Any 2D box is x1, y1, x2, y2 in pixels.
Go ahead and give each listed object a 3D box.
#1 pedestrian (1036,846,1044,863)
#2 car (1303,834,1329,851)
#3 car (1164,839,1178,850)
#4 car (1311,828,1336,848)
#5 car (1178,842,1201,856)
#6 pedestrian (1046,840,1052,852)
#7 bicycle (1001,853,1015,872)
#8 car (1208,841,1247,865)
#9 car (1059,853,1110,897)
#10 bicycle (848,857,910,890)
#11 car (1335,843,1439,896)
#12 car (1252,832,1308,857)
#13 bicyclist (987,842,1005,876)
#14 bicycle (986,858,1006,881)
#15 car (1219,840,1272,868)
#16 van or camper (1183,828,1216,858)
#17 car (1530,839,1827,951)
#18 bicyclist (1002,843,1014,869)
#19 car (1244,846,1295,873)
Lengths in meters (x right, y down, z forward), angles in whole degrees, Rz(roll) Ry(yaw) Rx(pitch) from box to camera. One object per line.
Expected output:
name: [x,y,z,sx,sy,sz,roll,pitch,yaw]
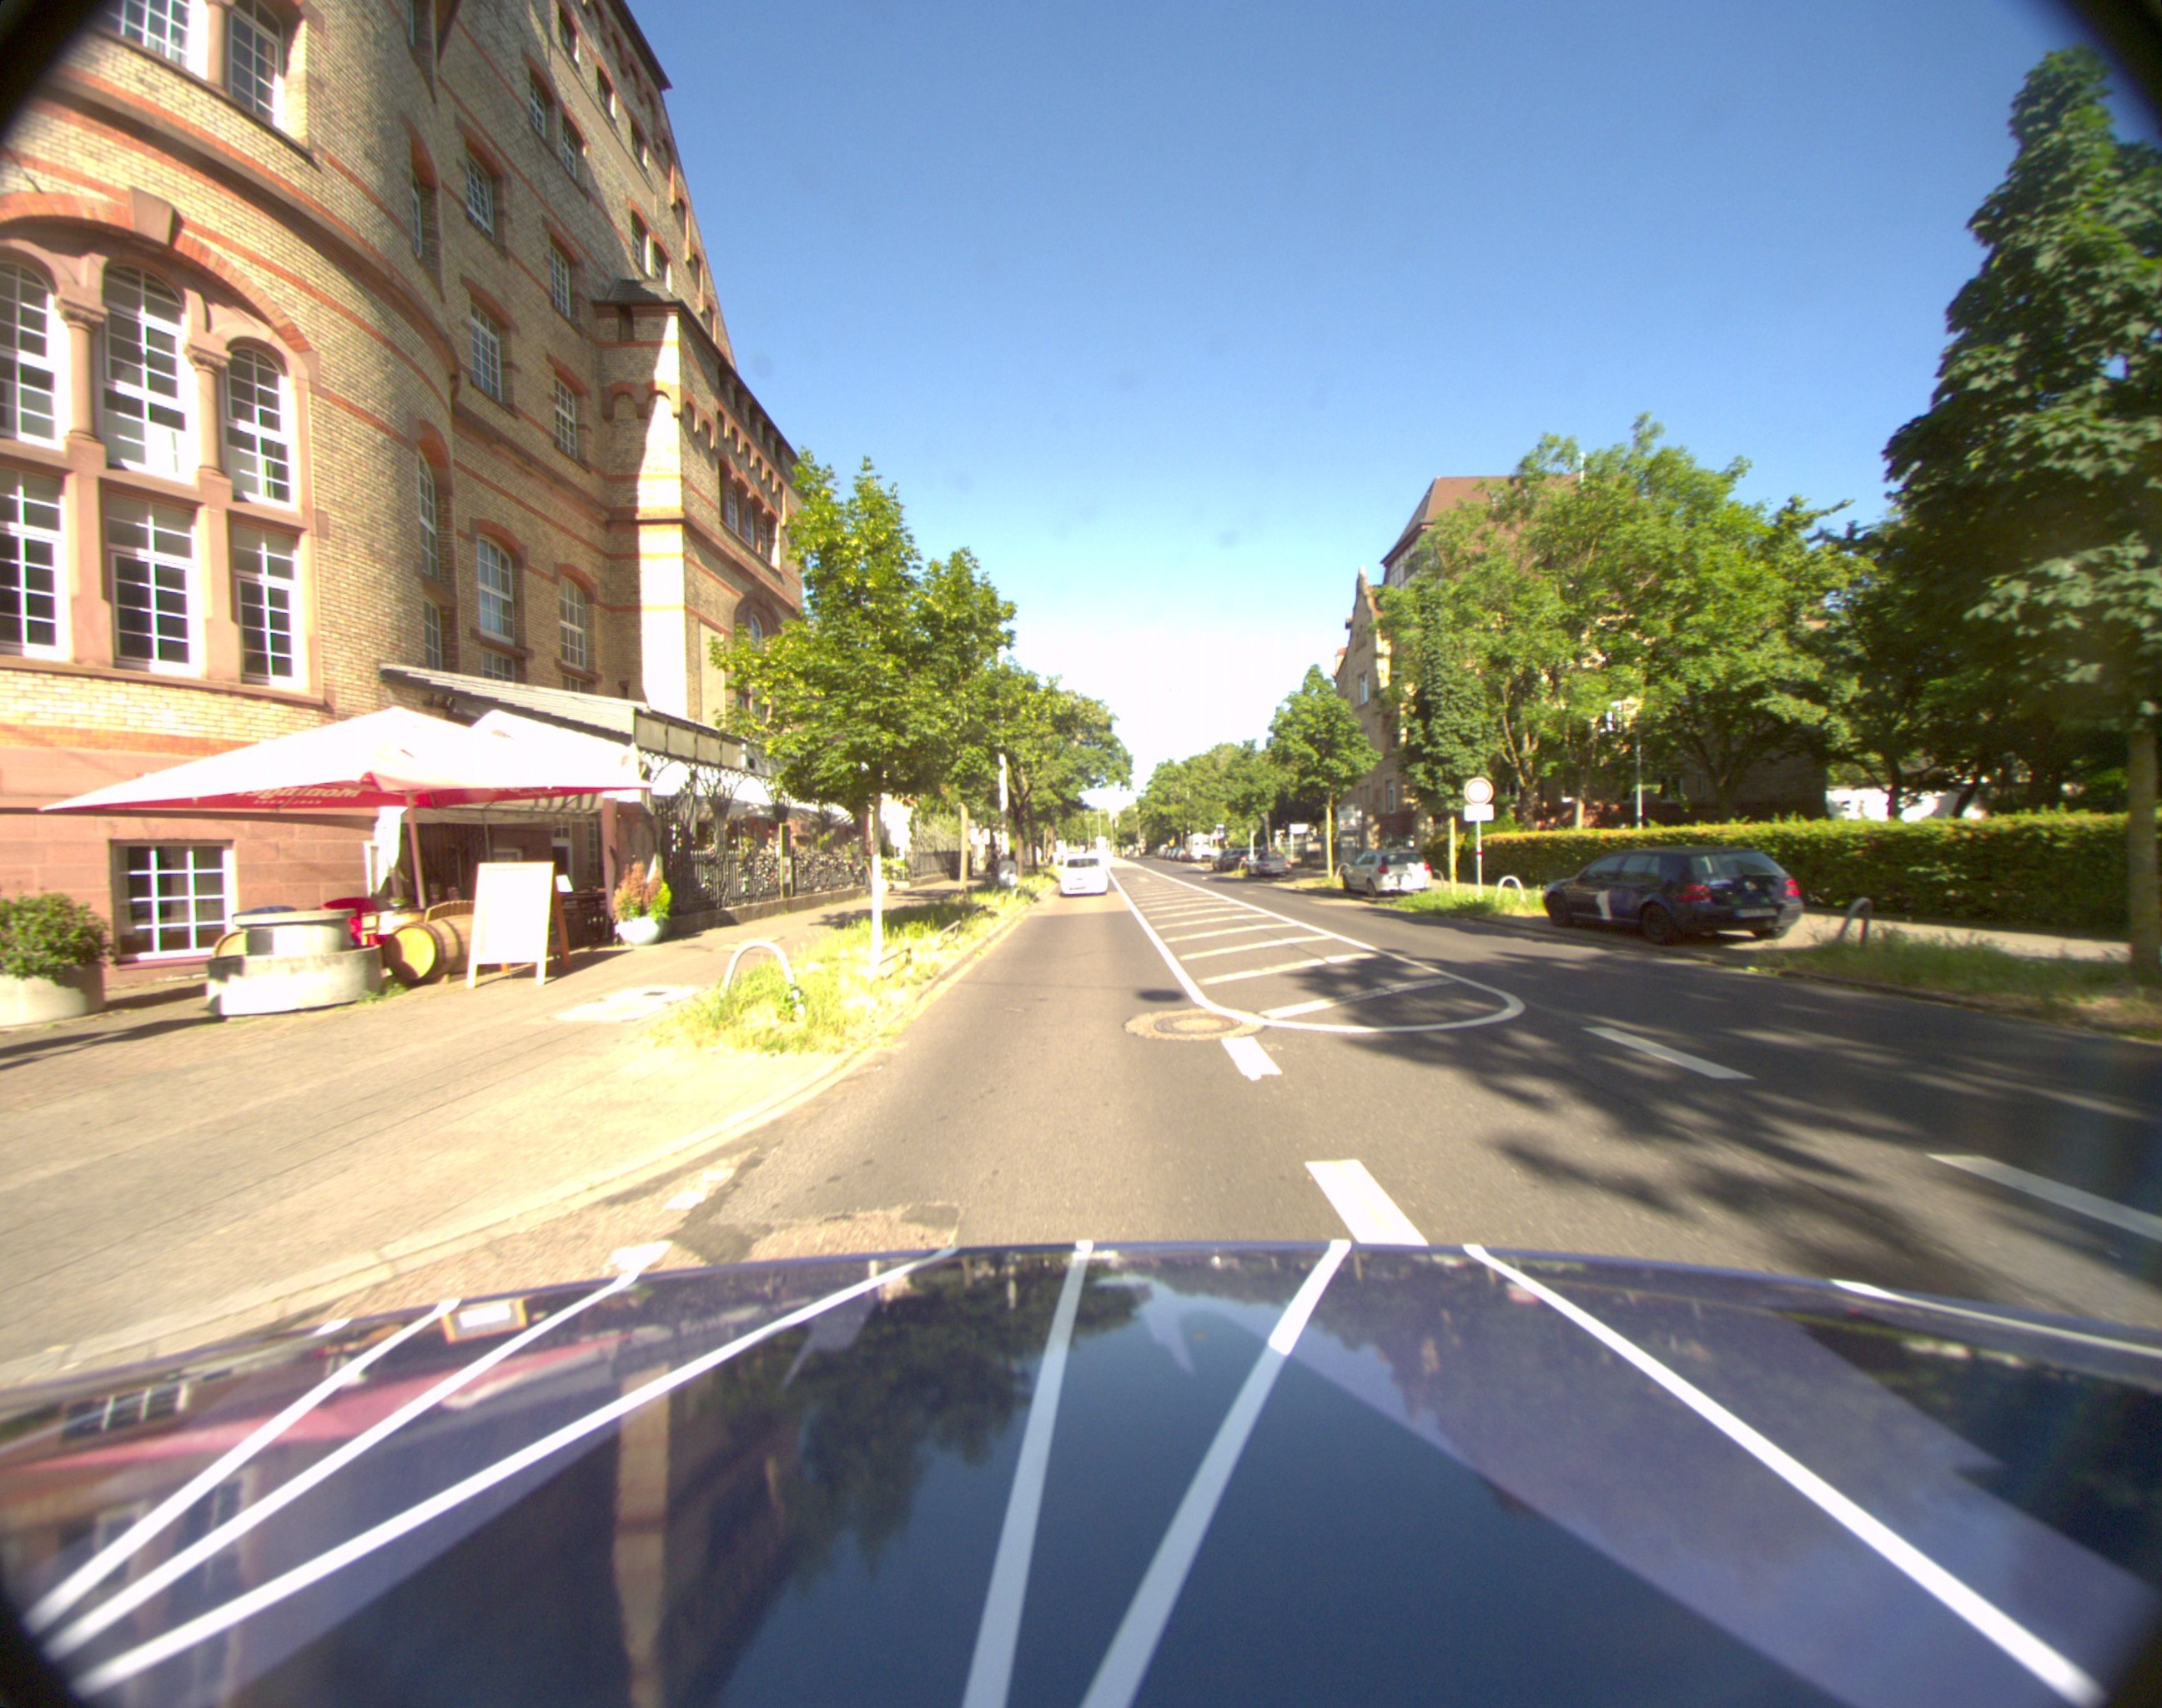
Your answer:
pedestrian: [-4.425,0.051,82.586,0.749,1.777,0.811,1,1,1]
car: [22.632,-1.128,73.113,1.860,1.504,3.534,1,3,25]
car: [12.088,-1.277,101.759,1.467,1.493,3.958,0,1,1]
car: [24.817,-1.647,77.653,1.860,1.903,4.458,1,3,25]
car: [11.321,-0.508,79.509,1.698,1.448,4.662,0,1,-1]
pedestrian: [-4.202,-1.083,100.680,0.696,1.649,0.820,1,2,0]
bicycle: [-4.754,0.519,49.430,0.654,1.170,1.843,2,1,2]
car: [10.204,-0.101,53.325,1.860,1.419,4.719,-5,1,2]
car: [0.188,0.729,28.557,1.652,1.449,3.897,-1,1,3]
bicycle: [-7.837,0.758,29.589,2.202,1.172,0.687,-2,2,-5]
car: [9.384,0.412,23.679,1.692,1.375,4.191,-4,1,4]
car: [16.380,-0.788,62.523,4.150,1.660,1.996,-5,0,-32]
bicyclist: [-4.158,0.243,37.127,0.702,1.590,0.954,-2,2,-1]
bicycle: [-4.155,0.726,37.295,0.687,1.022,2.095,-2,2,0]
car: [10.055,-0.036,46.840,1.861,1.485,4.703,-5,1,-4]
van or camper: [11.472,-1.051,74.024,2.222,2.723,6.087,-2,1,1]
car: [9.319,0.527,12.353,1.716,1.450,4.072,-2,1,2]
bicyclist: [-4.744,0.130,49.370,0.647,1.685,0.889,2,1,2]
car: [9.718,0.262,39.434,1.682,1.248,4.014,-2,1,1]
